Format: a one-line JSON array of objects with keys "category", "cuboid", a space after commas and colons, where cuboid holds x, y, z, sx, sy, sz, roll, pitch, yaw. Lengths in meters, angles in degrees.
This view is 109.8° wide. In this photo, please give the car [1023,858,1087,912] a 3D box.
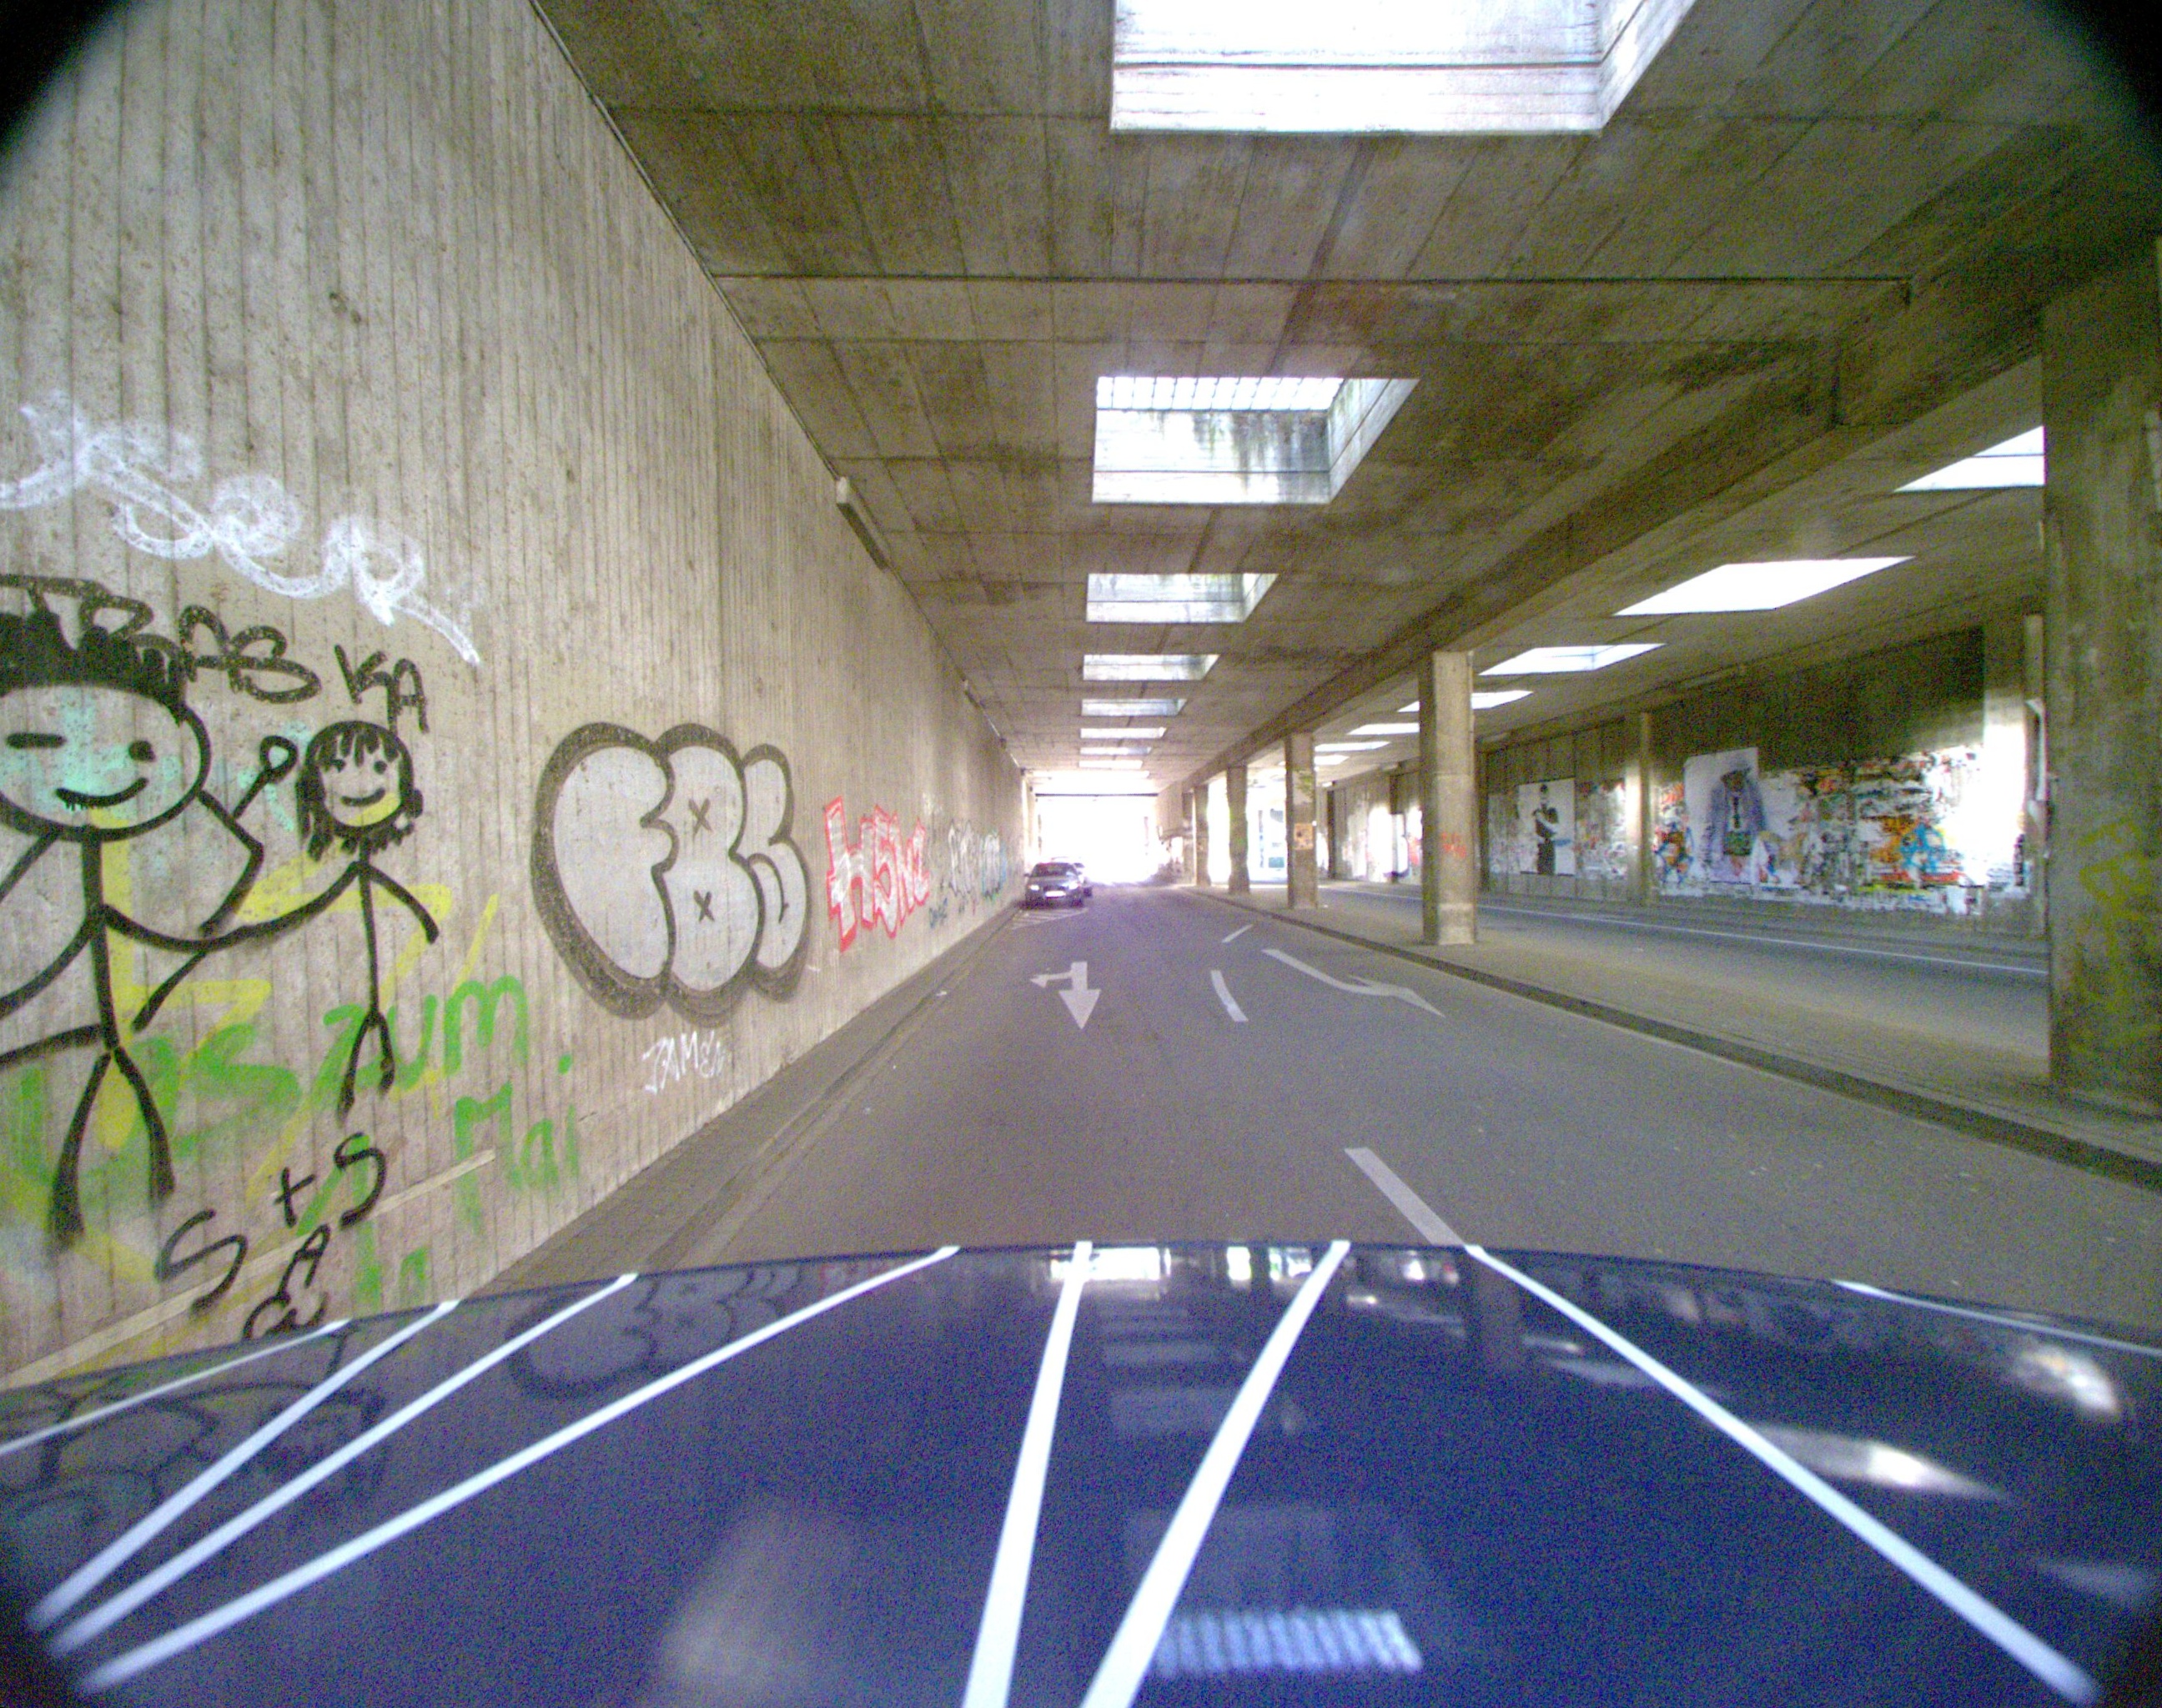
[{"category": "car", "cuboid": [-0.741, 0.914, 24.064, 1.767, 1.407, 3.999, -2, 1, 1]}]

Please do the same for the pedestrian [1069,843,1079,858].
[{"category": "pedestrian", "cuboid": [-0.934, -0.482, 103.930, 1.215, 2.002, 1.489, -2, 1, -2]}]

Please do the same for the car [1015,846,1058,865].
[{"category": "car", "cuboid": [-4.593, 0.147, 79.180, 3.992, 1.740, 2.002, -2, 1, 16]}]

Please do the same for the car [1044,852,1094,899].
[{"category": "car", "cuboid": [-0.514, 0.780, 29.808, 1.767, 1.634, 3.999, -2, 1, -2]}]
